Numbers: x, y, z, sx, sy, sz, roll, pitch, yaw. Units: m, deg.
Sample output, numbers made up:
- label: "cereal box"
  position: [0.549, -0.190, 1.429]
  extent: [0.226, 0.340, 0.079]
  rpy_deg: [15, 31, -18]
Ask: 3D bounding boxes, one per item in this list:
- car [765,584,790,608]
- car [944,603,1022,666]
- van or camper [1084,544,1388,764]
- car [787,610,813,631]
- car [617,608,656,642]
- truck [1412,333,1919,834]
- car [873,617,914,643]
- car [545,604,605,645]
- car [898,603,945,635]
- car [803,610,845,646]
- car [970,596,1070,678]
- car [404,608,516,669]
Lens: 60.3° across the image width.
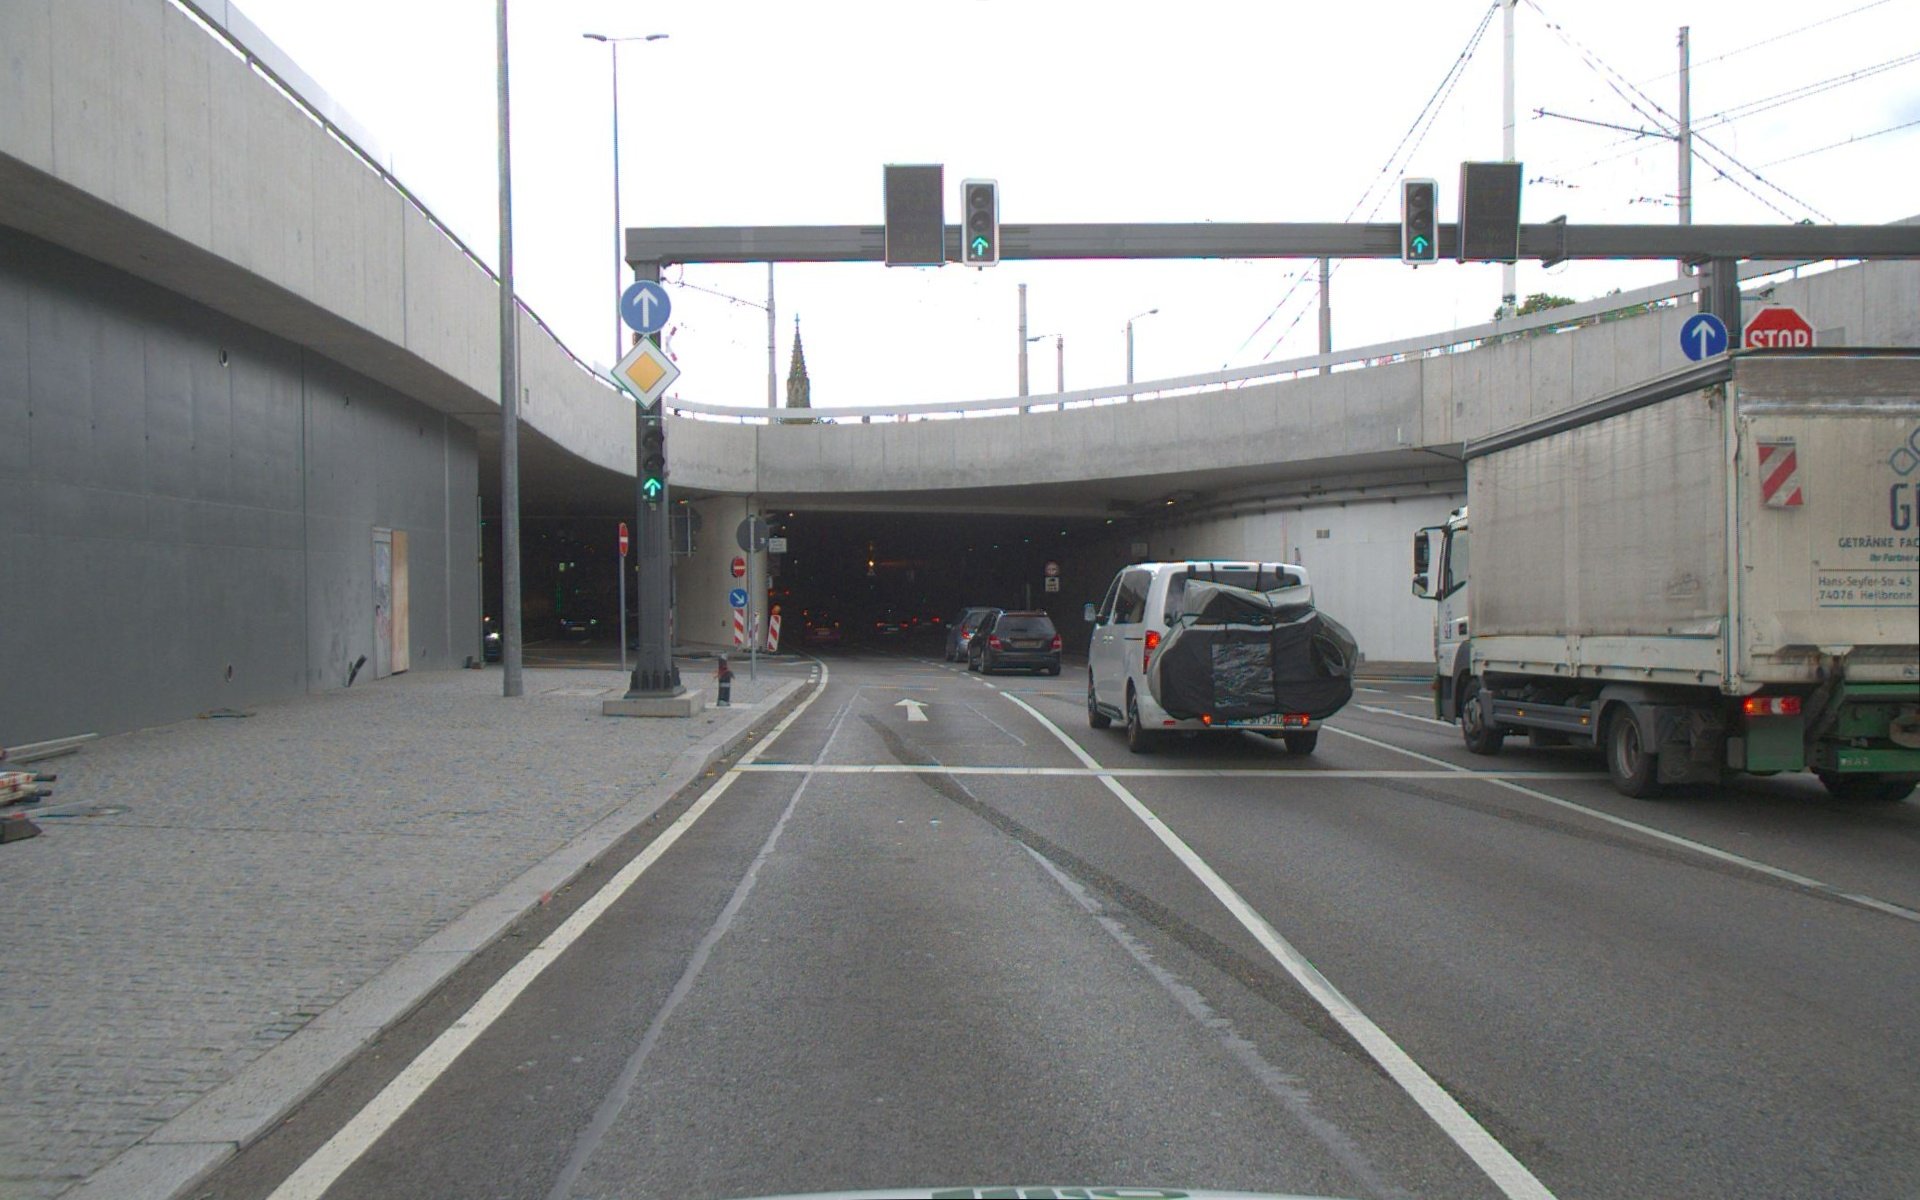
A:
- label: "car"
  position: [-15.772, -0.341, 142.546]
  extent: [1.957, 2.049, 3.991]
  rpy_deg: [0, 0, -9]
- label: "car"
  position: [0.616, 0.959, 47.822]
  extent: [1.783, 1.608, 3.996]
  rpy_deg: [4, 0, -5]
- label: "van or camper"
  position: [2.634, 0.533, 17.226]
  extent: [1.954, 1.877, 5.504]
  rpy_deg: [1, -1, -3]
- label: "car"
  position: [-9.986, 1.271, 103.346]
  extent: [1.480, 1.269, 3.560]
  rpy_deg: [0, -1, -8]
- label: "car"
  position: [-16.965, 1.288, 86.883]
  extent: [1.774, 1.632, 4.778]
  rpy_deg: [0, 1, -9]
- label: "truck"
  position: [6.360, -0.119, 14.454]
  extent: [2.596, 3.241, 7.423]
  rpy_deg: [0, 0, -2]
- label: "car"
  position: [-3.240, 1.450, 80.111]
  extent: [1.632, 1.269, 3.560]
  rpy_deg: [0, -1, -8]
- label: "car"
  position: [-14.839, 0.923, 63.594]
  extent: [1.641, 1.466, 4.085]
  rpy_deg: [0, 0, -23]
- label: "car"
  position: [-2.182, 1.063, 92.306]
  extent: [1.954, 1.705, 4.496]
  rpy_deg: [0, -1, -11]
- label: "car"
  position: [-5.873, 1.218, 71.279]
  extent: [1.629, 1.514, 3.560]
  rpy_deg: [0, -1, -8]
- label: "car"
  position: [1.287, 0.793, 37.114]
  extent: [1.783, 1.713, 3.996]
  rpy_deg: [1, 0, -4]
- label: "car"
  position: [-13.138, 0.971, 43.284]
  extent: [1.831, 1.468, 4.796]
  rpy_deg: [0, 0, -29]
